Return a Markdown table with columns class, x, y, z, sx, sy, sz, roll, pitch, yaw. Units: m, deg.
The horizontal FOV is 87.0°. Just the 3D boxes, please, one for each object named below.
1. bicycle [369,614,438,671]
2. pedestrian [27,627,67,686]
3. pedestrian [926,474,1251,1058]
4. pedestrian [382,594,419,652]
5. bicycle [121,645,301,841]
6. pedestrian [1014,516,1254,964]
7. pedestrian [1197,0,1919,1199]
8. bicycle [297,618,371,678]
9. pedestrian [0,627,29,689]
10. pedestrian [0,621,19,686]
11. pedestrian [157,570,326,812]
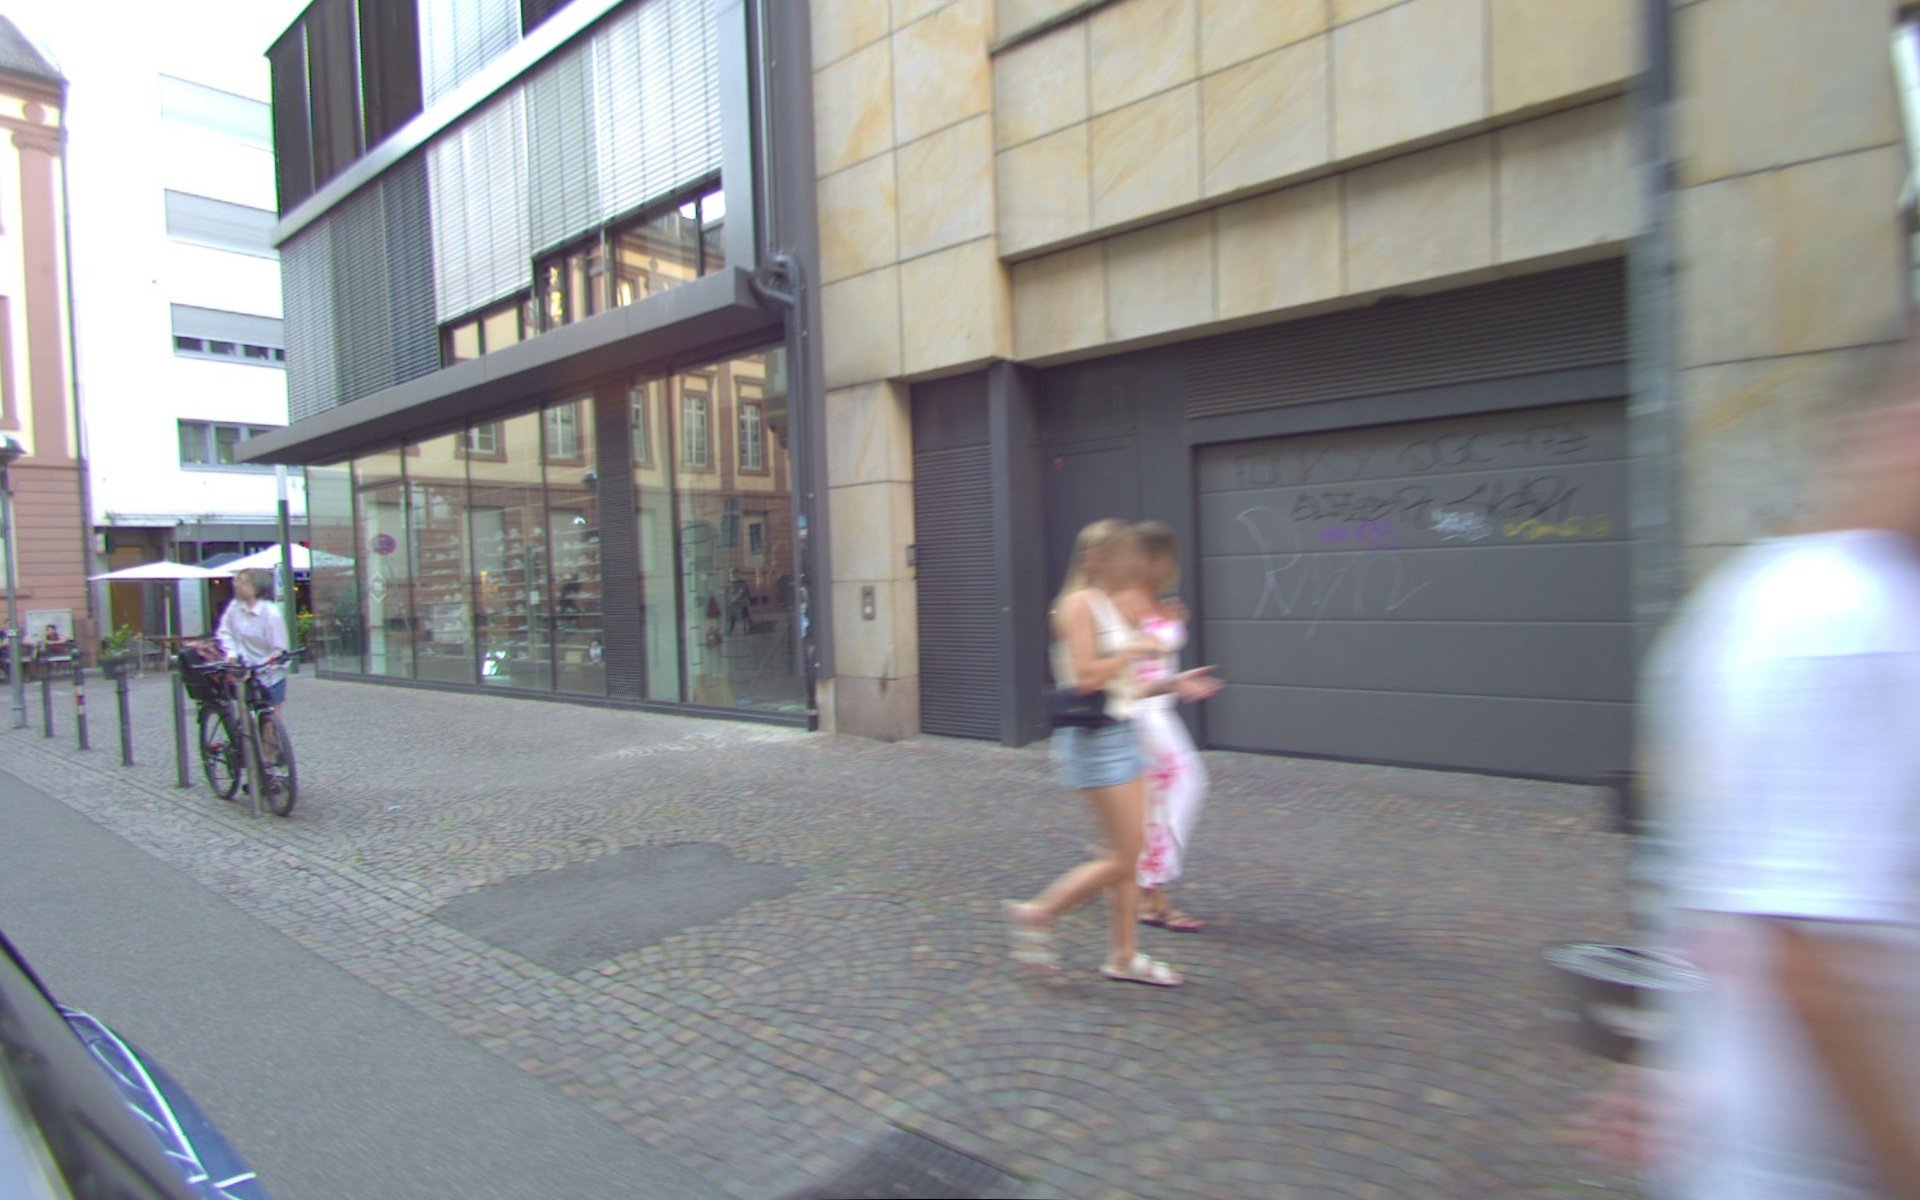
| class | x | y | z | sx | sy | sz | roll | pitch | yaw |
| --- | --- | --- | --- | --- | --- | --- | --- | --- | --- |
| bicycle | -12.098 | 0.928 | 21.977 | 1.839 | 1.159 | 0.602 | -3 | 0 | 39 |
| pedestrian | -19.833 | 1.218 | 21.987 | 0.524 | 1.220 | 0.542 | -1 | 1 | 41 |
| pedestrian | 0.488 | 0.499 | 3.549 | 0.941 | 1.742 | 0.804 | -2 | 1 | 19 |
| pedestrian | -16.488 | 0.671 | 29.842 | 0.618 | 1.678 | 0.668 | -2 | 0 | 12 |
| bicycle | -5.333 | 0.937 | 7.159 | 1.913 | 1.162 | 0.527 | -1 | 3 | 40 |
| pedestrian | 0.751 | 0.528 | 4.240 | 0.853 | 1.677 | 0.673 | -2 | 1 | 19 |
| pedestrian | 0.818 | 0.458 | 0.982 | 0.877 | 1.836 | 0.735 | -1 | 1 | 38 |
| bicycle | -12.700 | 0.977 | 20.515 | 1.671 | 1.121 | 0.700 | -3 | 0 | 38 |
| pedestrian | -19.344 | 1.169 | 20.551 | 0.461 | 1.220 | 0.554 | -1 | 1 | 41 |
| pedestrian | -20.413 | 1.141 | 21.485 | 0.488 | 1.359 | 0.542 | -1 | 1 | 41 |
| pedestrian | -5.472 | 0.660 | 7.751 | 0.585 | 1.731 | 0.768 | -3 | 2 | 8 |
